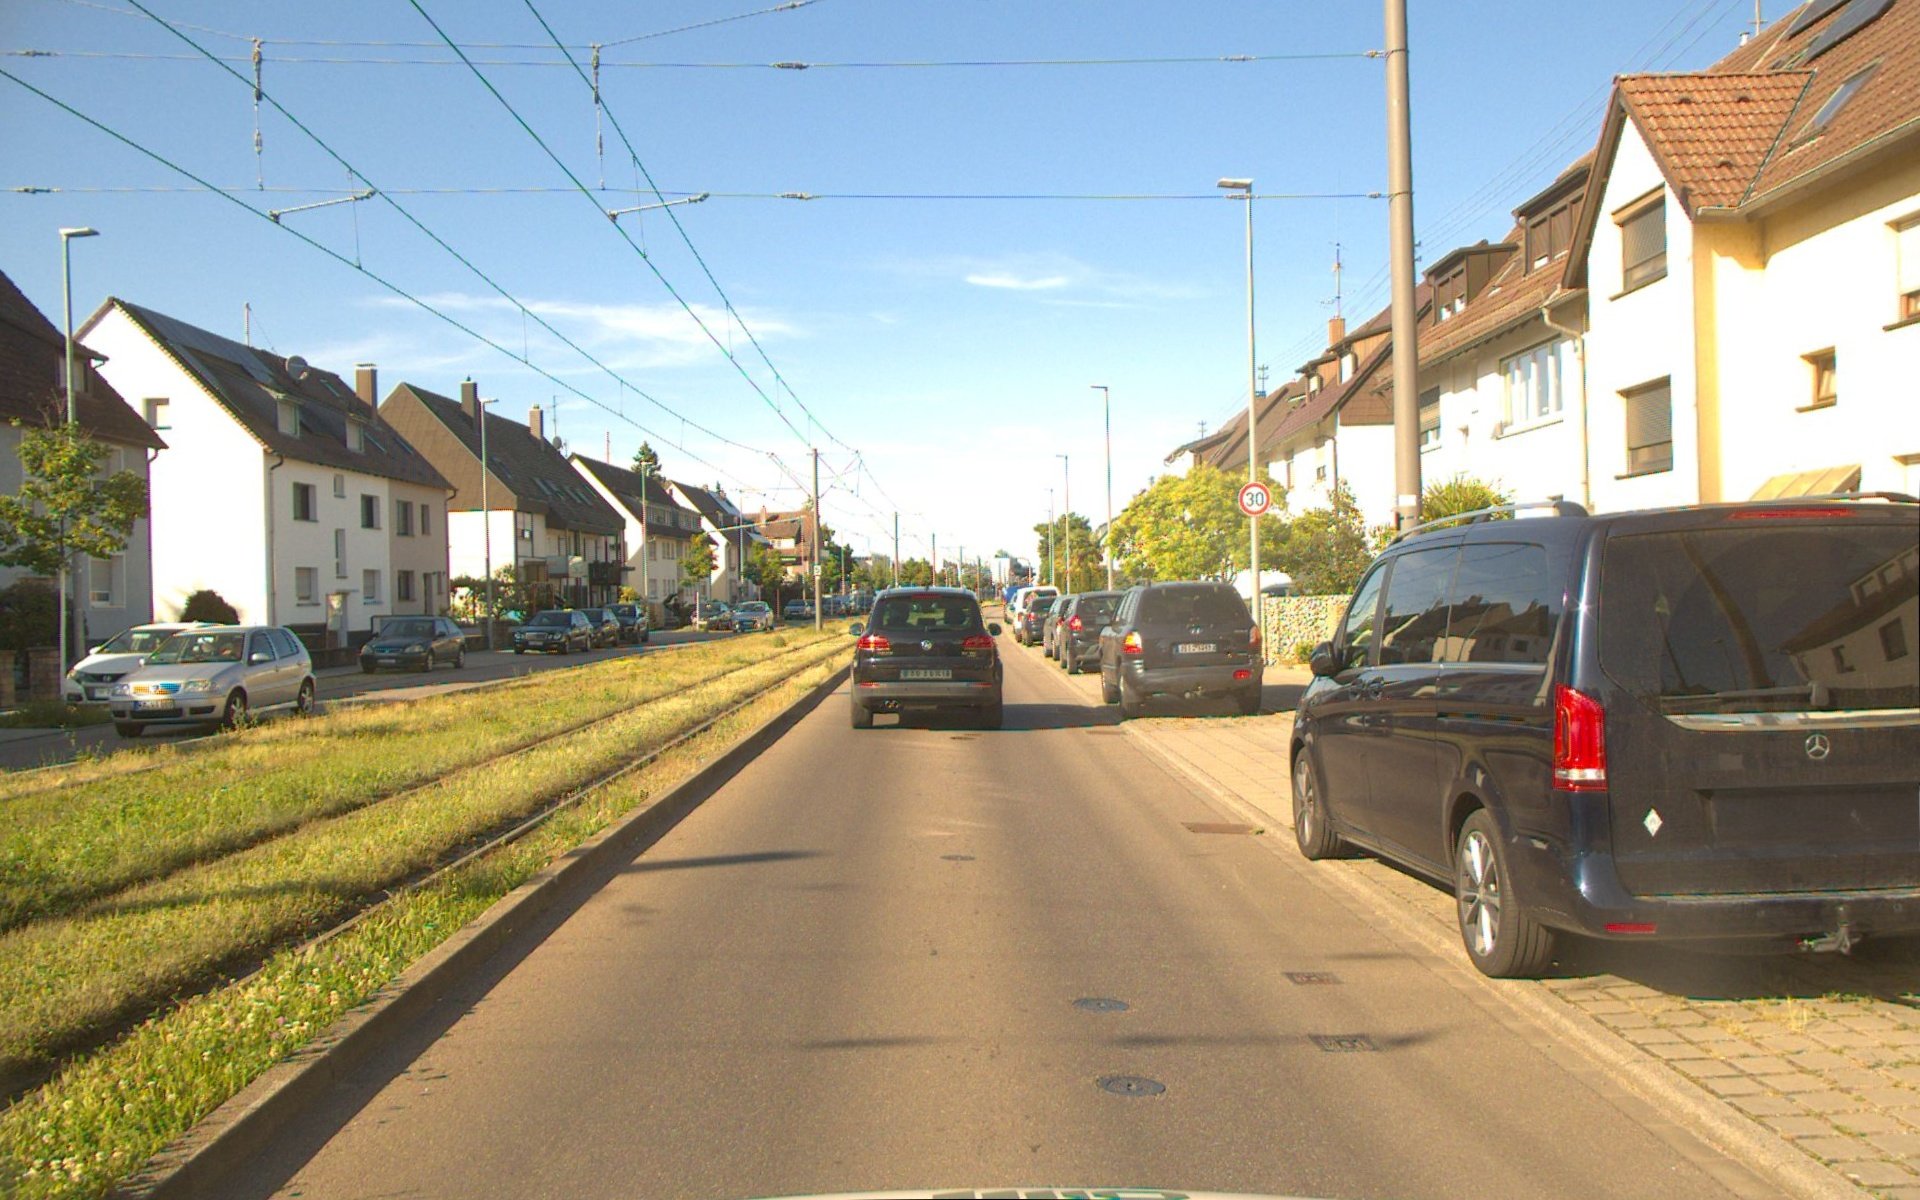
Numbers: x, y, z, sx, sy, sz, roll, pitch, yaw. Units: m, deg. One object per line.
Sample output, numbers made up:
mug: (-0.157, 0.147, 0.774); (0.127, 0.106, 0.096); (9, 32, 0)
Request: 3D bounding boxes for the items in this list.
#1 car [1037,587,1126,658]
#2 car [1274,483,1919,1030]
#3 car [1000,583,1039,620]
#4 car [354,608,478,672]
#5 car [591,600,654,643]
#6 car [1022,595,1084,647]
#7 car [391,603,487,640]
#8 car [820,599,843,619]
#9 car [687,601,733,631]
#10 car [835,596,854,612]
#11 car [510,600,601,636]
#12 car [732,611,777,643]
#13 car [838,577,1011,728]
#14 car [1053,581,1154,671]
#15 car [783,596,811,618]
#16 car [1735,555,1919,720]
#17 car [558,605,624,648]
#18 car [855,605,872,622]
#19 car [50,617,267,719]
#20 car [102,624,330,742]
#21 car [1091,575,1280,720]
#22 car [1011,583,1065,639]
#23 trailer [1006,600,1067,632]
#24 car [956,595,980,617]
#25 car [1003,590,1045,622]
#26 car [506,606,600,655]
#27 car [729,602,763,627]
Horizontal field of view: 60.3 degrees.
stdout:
car: (2.780, 0.509, 38.694); (1.583, 1.501, 4.448); (-2, 0, -2)
car: (3.045, 0.529, 8.249); (1.922, 1.868, 4.926); (-2, 0, -1)
car: (3.205, 0.062, 90.079); (1.952, 1.894, 4.917); (-2, 0, 1)
car: (-14.074, 1.012, 43.005); (1.753, 1.488, 4.167); (-2, 0, 1)
car: (-13.864, 0.870, 68.141); (1.767, 1.625, 4.809); (-2, 0, -3)
car: (2.803, 0.616, 50.661); (1.637, 1.478, 4.125); (-2, 0, 0)
car: (-25.735, 1.062, 81.769); (4.071, 1.683, 1.858); (-2, 0, 3)
car: (-11.465, 0.807, 147.827); (1.626, 1.609, 4.000); (-2, -2, 1)
car: (-13.490, 0.836, 89.577); (1.584, 1.478, 3.720); (-2, 0, 5)
car: (-10.684, 0.387, 153.215); (1.484, 1.385, 3.590); (-2, 0, 0)
car: (-20.019, 0.878, 81.952); (4.083, 1.645, 1.758); (-2, 0, -4)
car: (-10.279, 1.366, 82.833); (1.673, 1.517, 4.024); (-2, -2, 1)
car: (-0.551, 0.610, 20.892); (1.777, 1.700, 4.251); (0, 0, -7)
car: (2.776, 0.473, 32.717); (1.632, 1.574, 3.836); (-4, 0, 1)
car: (-12.346, 0.524, 125.464); (1.625, 1.523, 3.580); (-2, 0, 1)
car: (10.251, 0.285, 16.548); (4.081, 1.493, 1.900); (-2, 1, -2)
car: (-13.928, 0.987, 62.620); (1.489, 1.500, 4.201); (-1, 0, 1)
car: (-9.944, 1.366, 170.597); (1.435, 1.706, 3.287); (-2, -1, 1)
car: (-13.900, 1.127, 28.975); (1.658, 1.544, 4.214); (-2, 0, 1)
car: (-10.475, 1.116, 23.566); (1.518, 1.436, 3.659); (-2, 0, 1)
car: (2.894, 0.564, 22.151); (1.816, 1.688, 4.473); (-2, 0, -1)
car: (2.634, 0.355, 56.808); (1.655, 1.807, 4.656); (-2, 0, 1)
trailer: (3.042, 0.627, 66.657); (2.159, 1.113, 4.371); (-3, 0, -1)
car: (0.561, 0.385, 110.146); (1.540, 1.415, 3.614); (-2, 0, 0)
car: (3.206, 0.277, 83.705); (1.750, 1.466, 4.458); (-3, 0, -1)
car: (-13.995, 1.020, 57.143); (1.837, 1.549, 4.882); (-1, 0, 3)
car: (-13.217, 0.904, 102.322); (1.585, 1.433, 3.717); (-2, -2, 1)
